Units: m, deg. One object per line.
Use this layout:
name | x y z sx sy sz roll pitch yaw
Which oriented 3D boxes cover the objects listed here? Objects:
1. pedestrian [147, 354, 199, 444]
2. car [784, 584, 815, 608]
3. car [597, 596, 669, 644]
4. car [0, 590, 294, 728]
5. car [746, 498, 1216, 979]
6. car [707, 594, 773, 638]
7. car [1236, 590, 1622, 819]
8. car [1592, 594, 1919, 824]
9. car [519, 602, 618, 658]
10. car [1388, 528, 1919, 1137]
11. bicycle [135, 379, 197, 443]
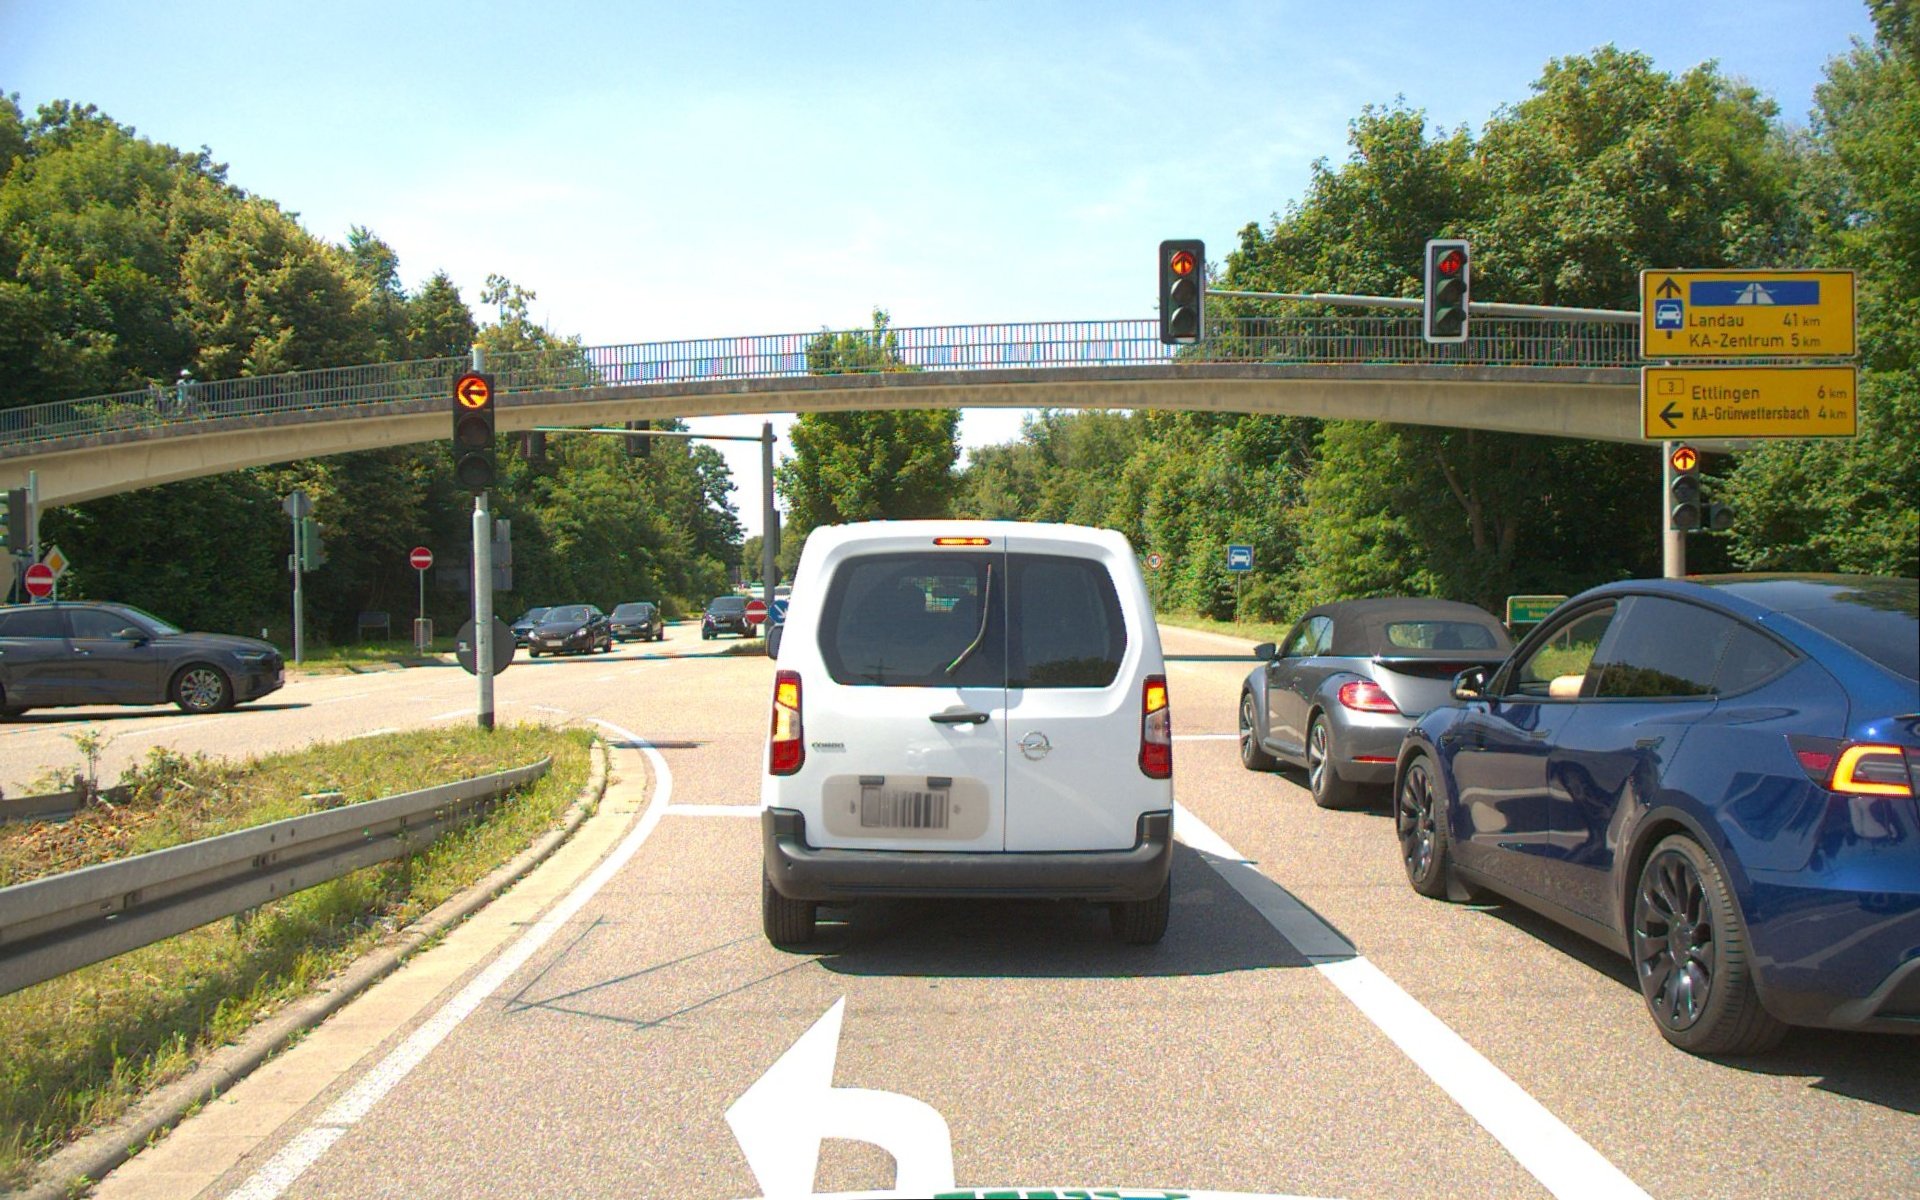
pedestrian | -20.668 -5.264 43.444 0.765 2.177 0.932 -3 -2 15
car | -11.767 -0.271 121.592 1.953 1.694 3.999 -1 0 -1
car | -12.272 0.718 62.259 1.953 1.694 3.999 -1 0 -1
car | -12.606 0.844 24.194 4.985 1.728 2.041 -2 2 -15
car | 0.028 0.514 8.444 1.812 1.857 3.980 1 1 -2
car | -8.243 0.582 62.265 1.953 1.550 4.027 2 0 -1
car | 3.467 0.688 13.036 1.862 1.503 3.938 1 0 -1
car | 6.825 0.723 13.143 1.862 1.503 4.379 1 0 -1
car | -11.510 0.847 48.830 1.967 1.486 4.054 -2 0 -1
car | 3.321 0.639 6.831 1.862 1.673 4.519 1 0 -1
bicycle | -20.727 -4.927 43.166 1.494 1.500 0.470 -3 -2 15
